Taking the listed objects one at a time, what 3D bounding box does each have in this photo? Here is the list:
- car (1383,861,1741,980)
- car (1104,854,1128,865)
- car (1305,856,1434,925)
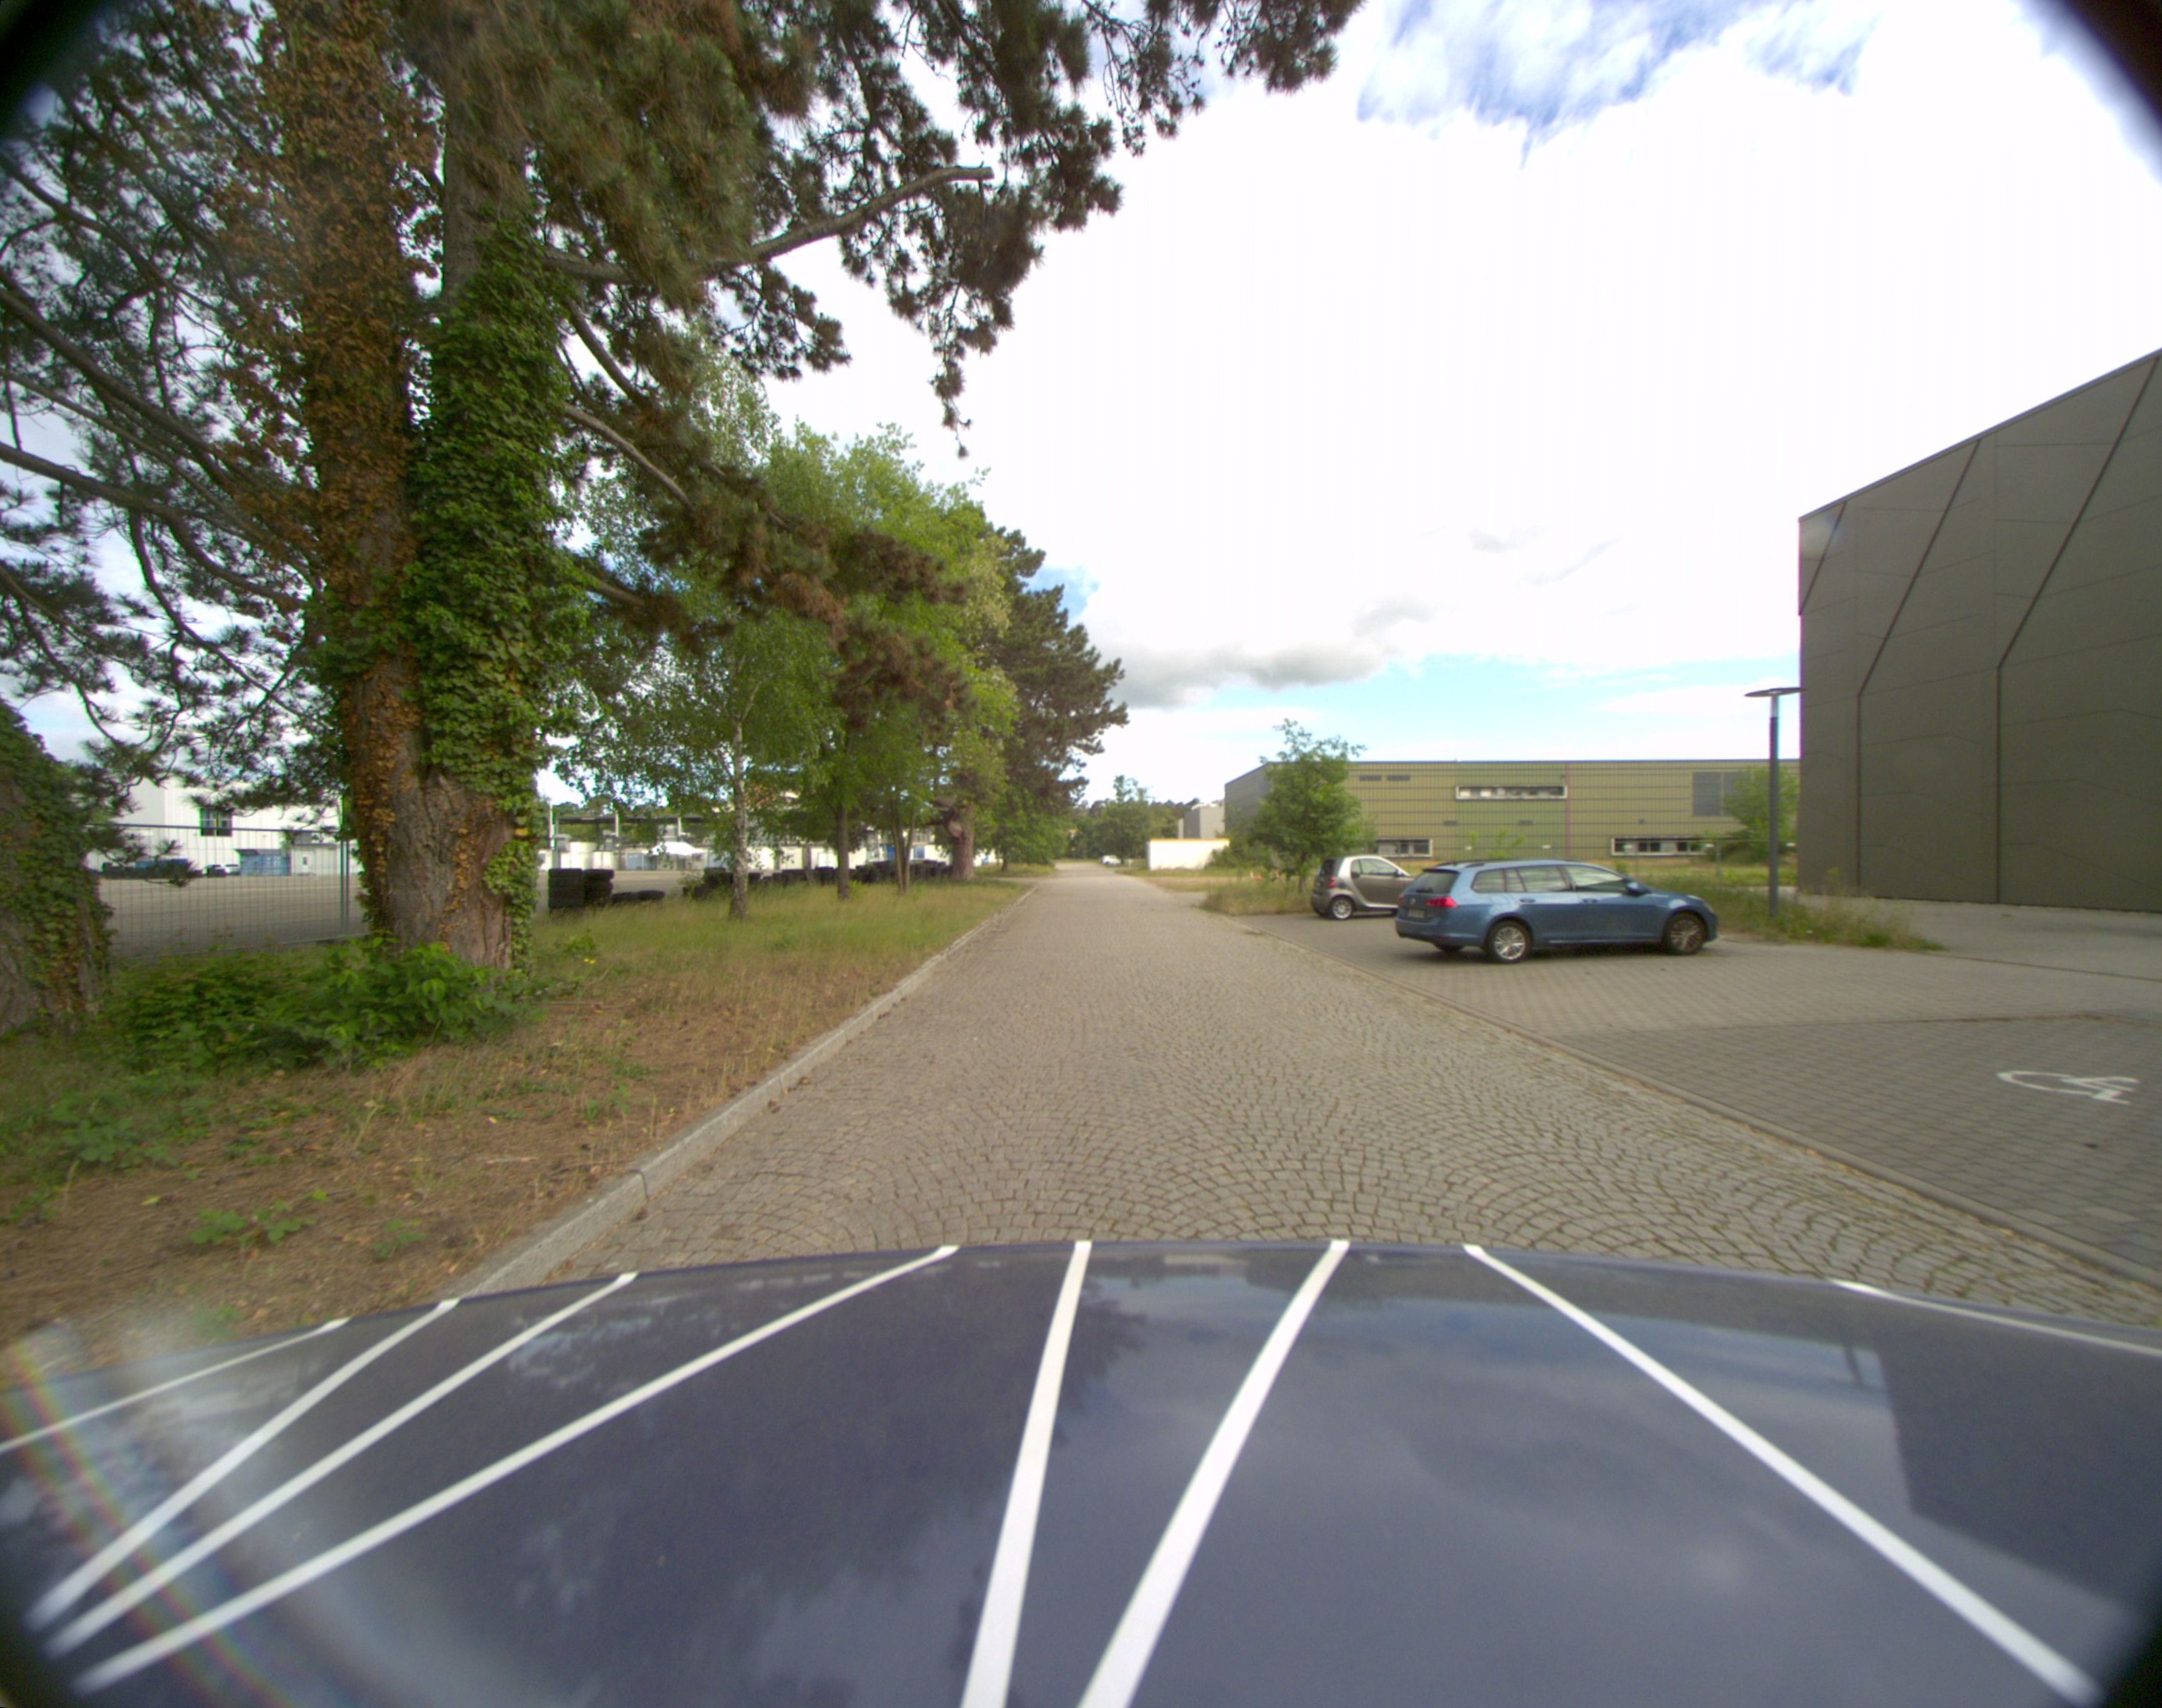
[{"bbox_3d":[7.140,0.937,11.548,4.427,1.461,1.633,-2,1,-3],"label":"car"},{"bbox_3d":[6.001,1.004,131.345,4.062,1.767,1.792,-1,1,-1],"label":"car"},{"bbox_3d":[7.124,0.868,18.916,2.584,1.521,1.500,-2,1,-2],"label":"car"}]
